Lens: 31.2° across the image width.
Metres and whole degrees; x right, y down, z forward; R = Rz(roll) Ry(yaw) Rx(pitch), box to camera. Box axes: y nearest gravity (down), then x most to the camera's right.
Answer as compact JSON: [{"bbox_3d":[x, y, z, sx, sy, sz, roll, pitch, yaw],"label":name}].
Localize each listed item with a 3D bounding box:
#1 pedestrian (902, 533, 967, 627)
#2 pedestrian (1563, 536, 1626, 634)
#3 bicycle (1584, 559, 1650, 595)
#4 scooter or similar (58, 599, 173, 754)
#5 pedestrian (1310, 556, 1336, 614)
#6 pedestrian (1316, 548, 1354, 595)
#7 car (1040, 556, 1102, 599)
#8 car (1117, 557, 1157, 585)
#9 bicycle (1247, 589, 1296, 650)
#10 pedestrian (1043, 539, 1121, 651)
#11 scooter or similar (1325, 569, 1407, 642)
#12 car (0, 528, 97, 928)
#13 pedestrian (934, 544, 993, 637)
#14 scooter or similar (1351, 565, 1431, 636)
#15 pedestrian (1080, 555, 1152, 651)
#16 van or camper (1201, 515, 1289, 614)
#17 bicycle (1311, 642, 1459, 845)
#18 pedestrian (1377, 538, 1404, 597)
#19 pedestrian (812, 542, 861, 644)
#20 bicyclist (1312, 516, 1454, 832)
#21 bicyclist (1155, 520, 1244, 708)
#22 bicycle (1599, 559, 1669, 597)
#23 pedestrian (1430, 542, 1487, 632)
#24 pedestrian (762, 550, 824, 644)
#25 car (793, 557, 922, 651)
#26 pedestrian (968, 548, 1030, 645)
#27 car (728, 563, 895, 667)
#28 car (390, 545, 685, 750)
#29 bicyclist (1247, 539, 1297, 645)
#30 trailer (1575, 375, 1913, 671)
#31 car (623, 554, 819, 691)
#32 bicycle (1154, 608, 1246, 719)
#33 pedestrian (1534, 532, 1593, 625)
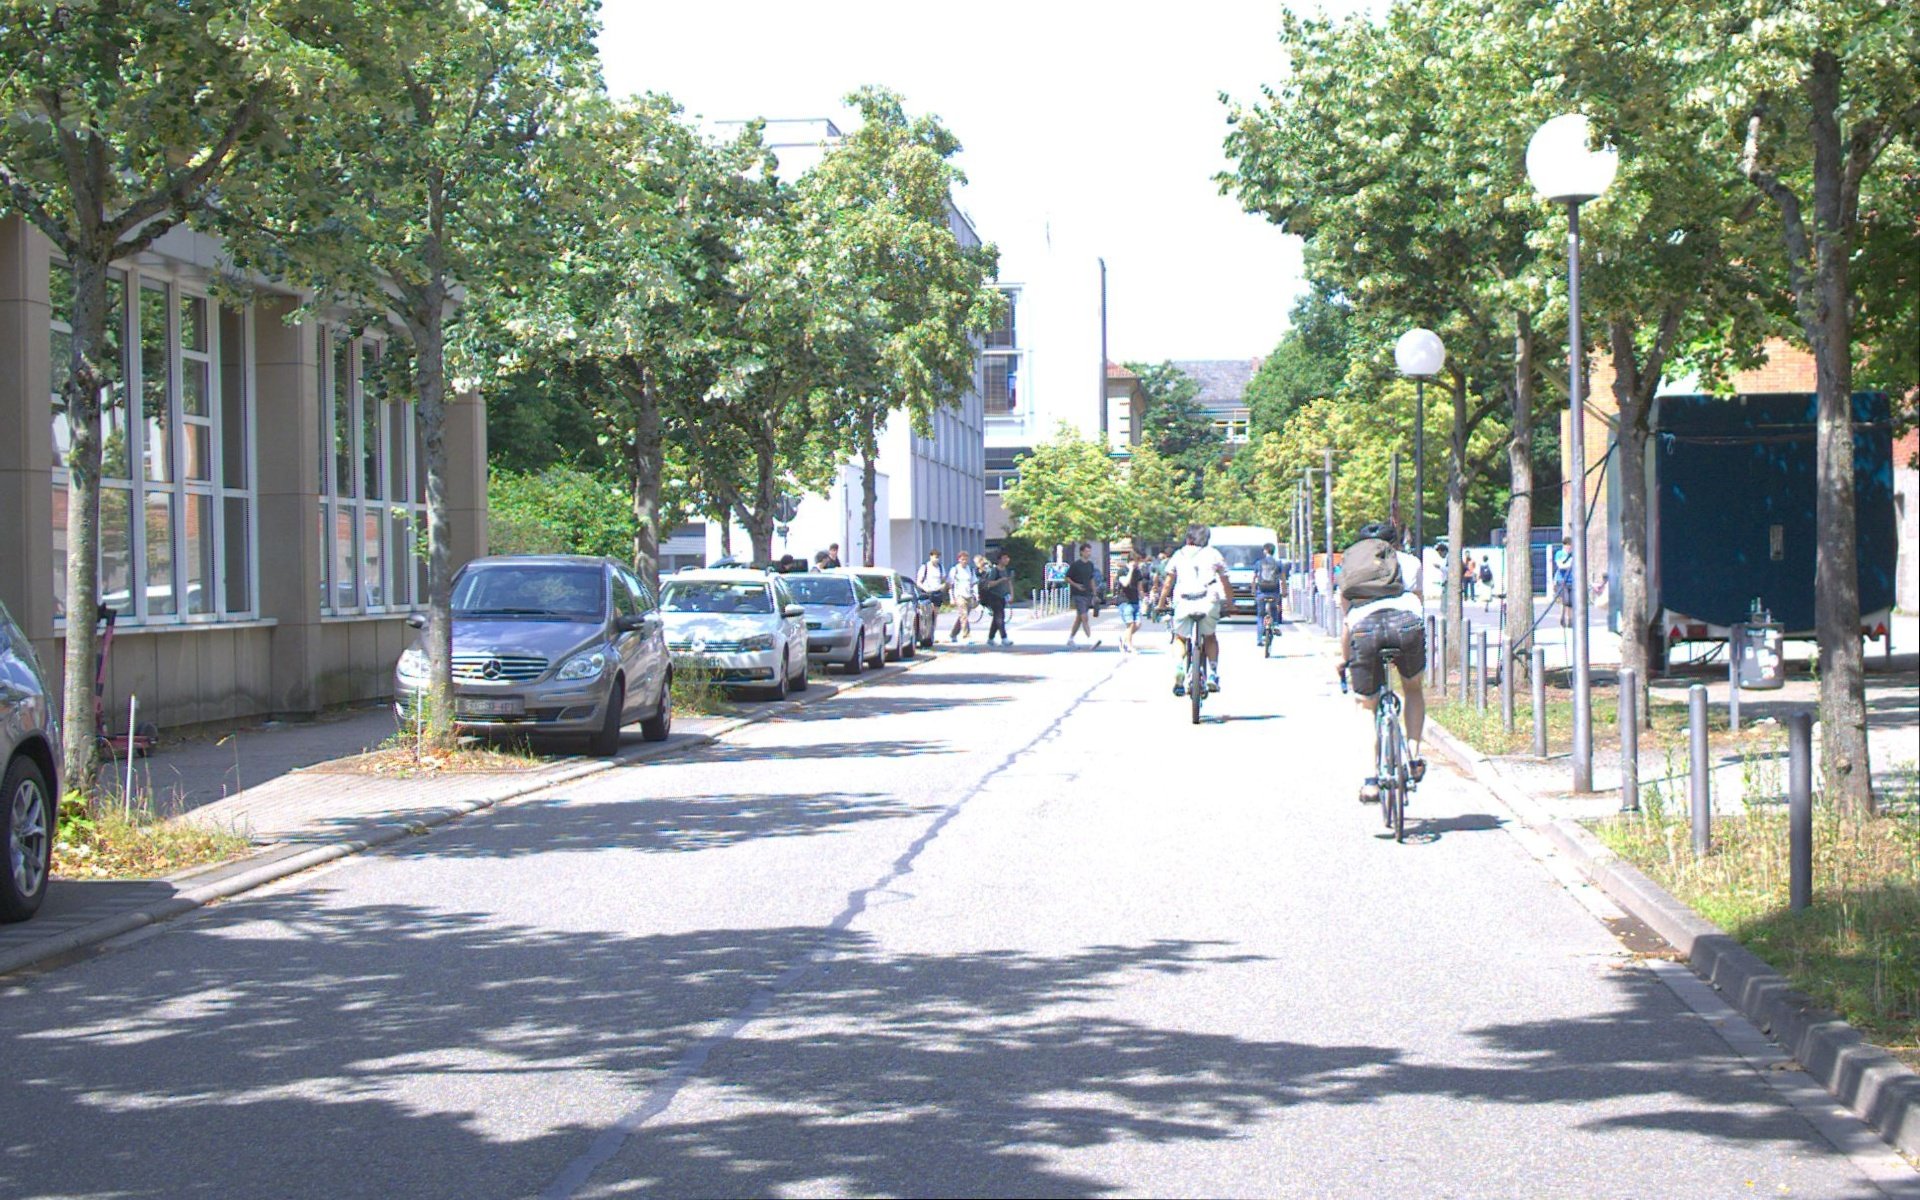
[{"bbox_3d":[-0.481,-0.366,64.400,0.983,1.733,0.699,0,-1,42],"label":"pedestrian"},{"bbox_3d":[11.157,-0.266,60.489,0.875,1.632,0.949,-5,1,5],"label":"pedestrian"},{"bbox_3d":[19.088,-0.678,99.935,1.809,0.981,0.560,-2,0,4],"label":"bicycle"},{"bbox_3d":[-6.610,0.584,26.944,0.505,1.165,1.215,1,1,5],"label":"scooter or similar"},{"bbox_3d":[11.741,-0.488,111.223,0.790,1.853,1.025,-1,1,6],"label":"pedestrian"},{"bbox_3d":[16.803,-1.264,154.120,1.499,1.989,1.646,-4,1,3],"label":"pedestrian"},{"bbox_3d":[4.083,-0.835,125.870,1.796,1.525,3.999,-1,1,8],"label":"car"},{"bbox_3d":[9.914,-1.620,192.202,1.796,1.525,3.999,-1,1,8],"label":"car"},{"bbox_3d":[5.192,0.314,57.280,0.808,0.999,2.123,0,0,5],"label":"bicycle"},{"bbox_3d":[2.170,-0.094,61.381,0.852,1.853,1.116,-4,7,-37],"label":"pedestrian"},{"bbox_3d":[7.125,0.092,60.318,1.263,1.260,0.649,-1,1,37],"label":"scooter or similar"},{"bbox_3d":[-4.836,0.510,13.049,1.822,1.627,4.517,1,1,2],"label":"car"},{"bbox_3d":[0.065,-0.192,64.918,0.908,1.733,0.677,1,1,42],"label":"pedestrian"},{"bbox_3d":[7.750,0.005,61.870,1.263,1.260,0.638,-1,1,37],"label":"scooter or similar"},{"bbox_3d":[2.675,0.050,58.956,0.847,1.589,0.830,-3,1,-38],"label":"pedestrian"},{"bbox_3d":[7.373,-0.898,88.609,1.994,2.437,4.568,-1,0,7],"label":"van or camper"},{"bbox_3d":[2.267,0.747,18.505,0.707,0.990,1.910,-1,0,5],"label":"bicycle"},{"bbox_3d":[13.714,-1.029,109.470,0.790,1.853,1.025,-1,0,6],"label":"pedestrian"},{"bbox_3d":[-2.443,-0.139,67.790,0.616,1.973,0.829,-1,-1,-27],"label":"pedestrian"},{"bbox_3d":[2.277,0.383,18.594,0.717,1.656,1.095,0,0,5],"label":"bicyclist"},{"bbox_3d":[2.288,0.123,32.821,0.771,1.750,0.848,2,1,6],"label":"bicyclist"},{"bbox_3d":[18.834,-0.616,96.072,1.809,0.981,0.560,-2,0,4],"label":"bicycle"},{"bbox_3d":[9.826,-0.266,67.744,0.959,1.688,0.704,3,3,15],"label":"pedestrian"},{"bbox_3d":[-3.264,-0.068,67.206,0.802,1.766,0.853,5,4,30],"label":"pedestrian"},{"bbox_3d":[-1.593,0.035,54.511,1.662,1.407,3.806,1,1,4],"label":"car"},{"bbox_3d":[0.705,-0.053,62.500,0.991,1.714,0.703,0,-4,13],"label":"pedestrian"},{"bbox_3d":[-2.037,0.177,48.284,1.725,1.339,4.164,1,1,6],"label":"car"},{"bbox_3d":[-3.446,0.351,28.720,1.757,1.551,4.113,1,1,3],"label":"car"},{"bbox_3d":[5.199,-0.130,57.304,0.808,1.750,0.692,0,0,5],"label":"bicyclist"},{"bbox_3d":[8.846,-0.848,39.484,2.692,3.041,6.257,-2,0,3],"label":"trailer"},{"bbox_3d":[-2.696,0.225,39.716,1.725,1.451,4.583,1,1,3],"label":"car"},{"bbox_3d":[2.310,0.587,32.873,0.808,0.999,2.123,-1,0,6],"label":"bicycle"},{"bbox_3d":[12.136,-0.442,69.121,0.708,1.781,0.753,-9,5,-29],"label":"pedestrian"}]
